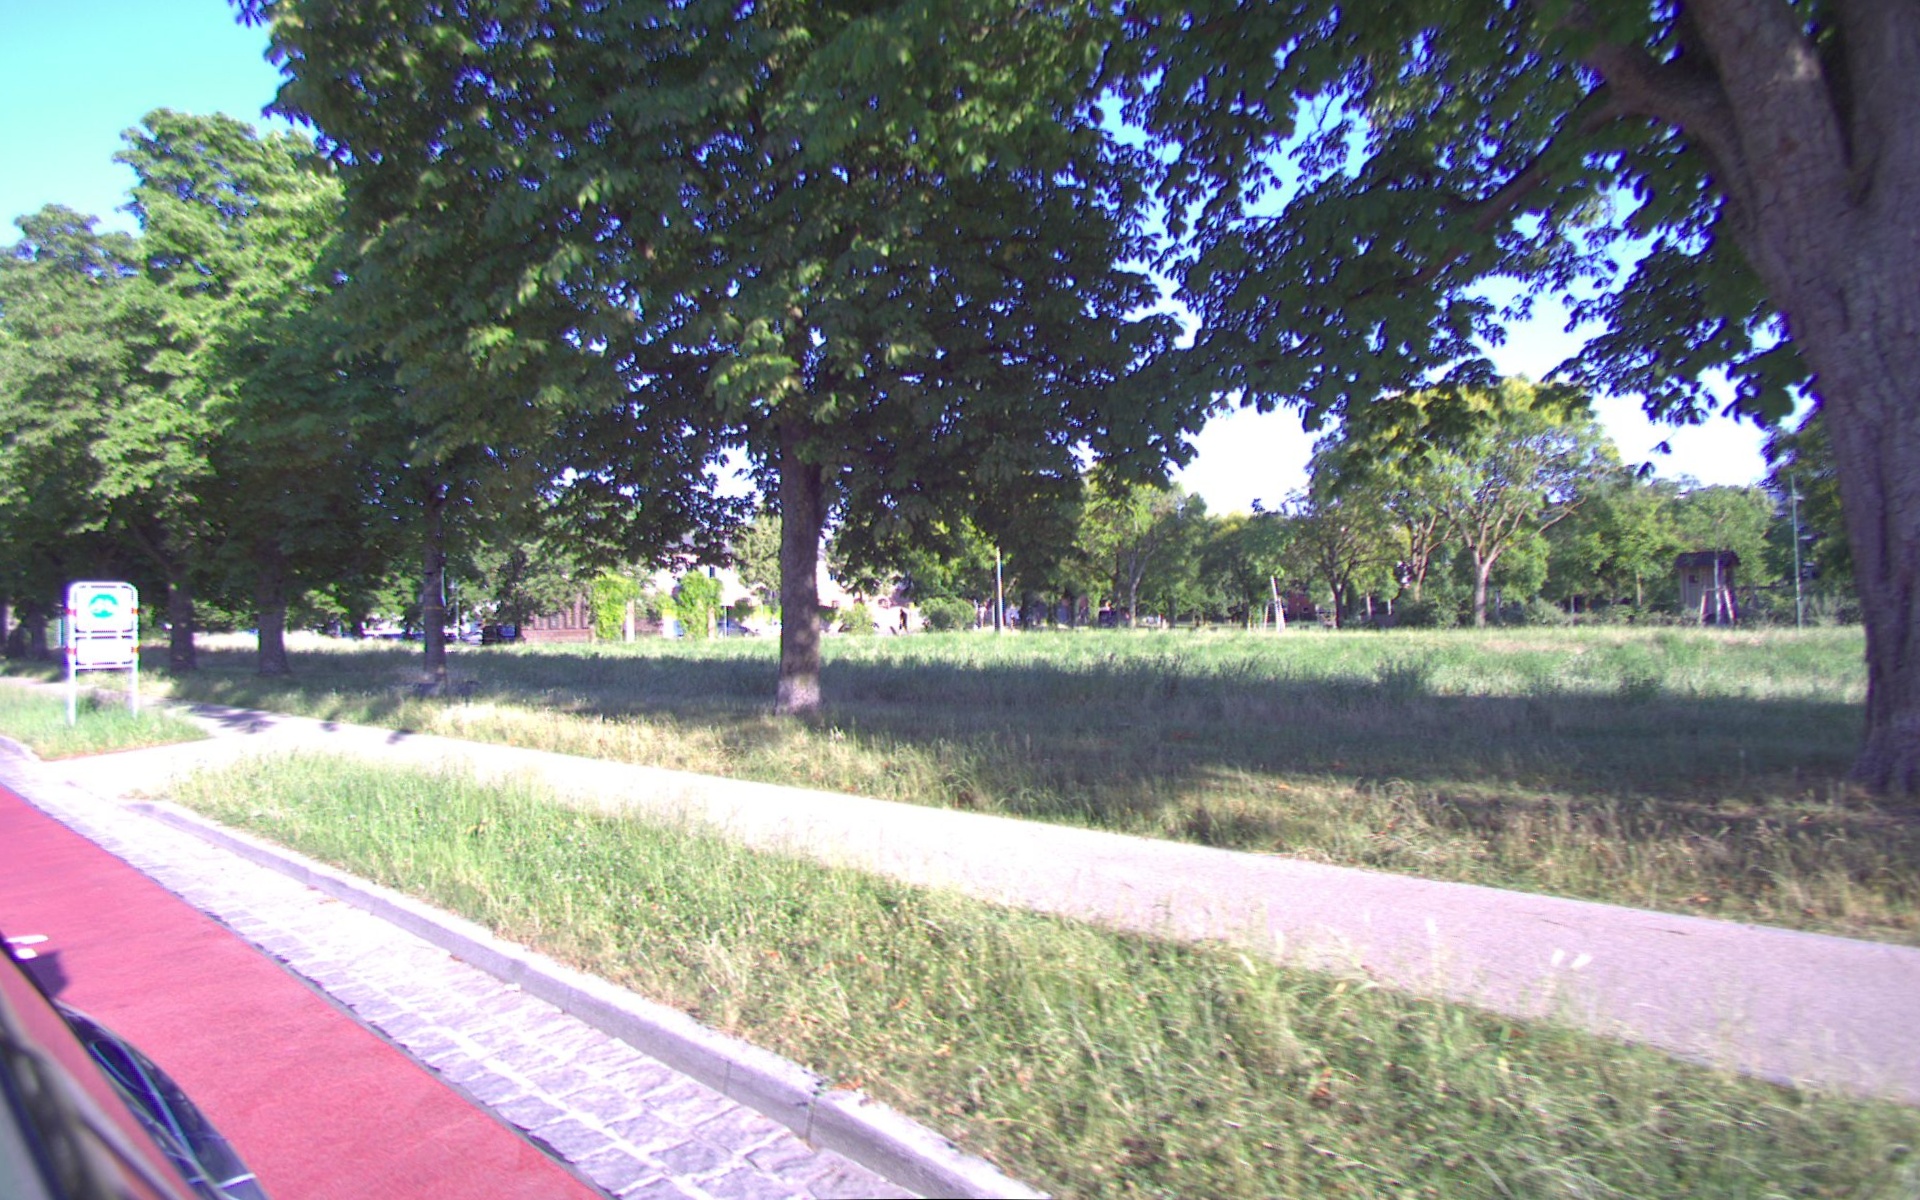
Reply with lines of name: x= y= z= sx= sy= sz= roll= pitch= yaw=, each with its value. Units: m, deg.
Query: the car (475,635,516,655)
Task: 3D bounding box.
car: x=-36.161 y=3.506 z=78.822 sx=3.638 sy=1.492 sz=1.564 roll=-2 pitch=0 yaw=42

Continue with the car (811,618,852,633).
car: x=-11.971 y=2.361 z=94.497 sx=1.586 sy=1.290 sz=3.589 roll=-2 pitch=0 yaw=42

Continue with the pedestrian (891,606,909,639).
pedestrian: x=-3.186 y=1.183 z=53.814 sx=0.709 sy=1.737 sz=0.774 roll=-2 pitch=0 yaw=13

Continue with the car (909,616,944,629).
car: x=-3.446 y=2.339 z=105.763 sx=1.586 sy=1.290 sz=3.589 roll=-2 pitch=0 yaw=42

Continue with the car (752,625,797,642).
car: x=-16.104 y=2.905 z=87.759 sx=1.586 sy=1.290 sz=3.589 roll=-2 pitch=0 yaw=42

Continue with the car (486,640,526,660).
car: x=-40.724 y=4.464 z=90.740 sx=3.998 sy=1.641 sz=1.744 roll=-3 pitch=-1 yaw=41
